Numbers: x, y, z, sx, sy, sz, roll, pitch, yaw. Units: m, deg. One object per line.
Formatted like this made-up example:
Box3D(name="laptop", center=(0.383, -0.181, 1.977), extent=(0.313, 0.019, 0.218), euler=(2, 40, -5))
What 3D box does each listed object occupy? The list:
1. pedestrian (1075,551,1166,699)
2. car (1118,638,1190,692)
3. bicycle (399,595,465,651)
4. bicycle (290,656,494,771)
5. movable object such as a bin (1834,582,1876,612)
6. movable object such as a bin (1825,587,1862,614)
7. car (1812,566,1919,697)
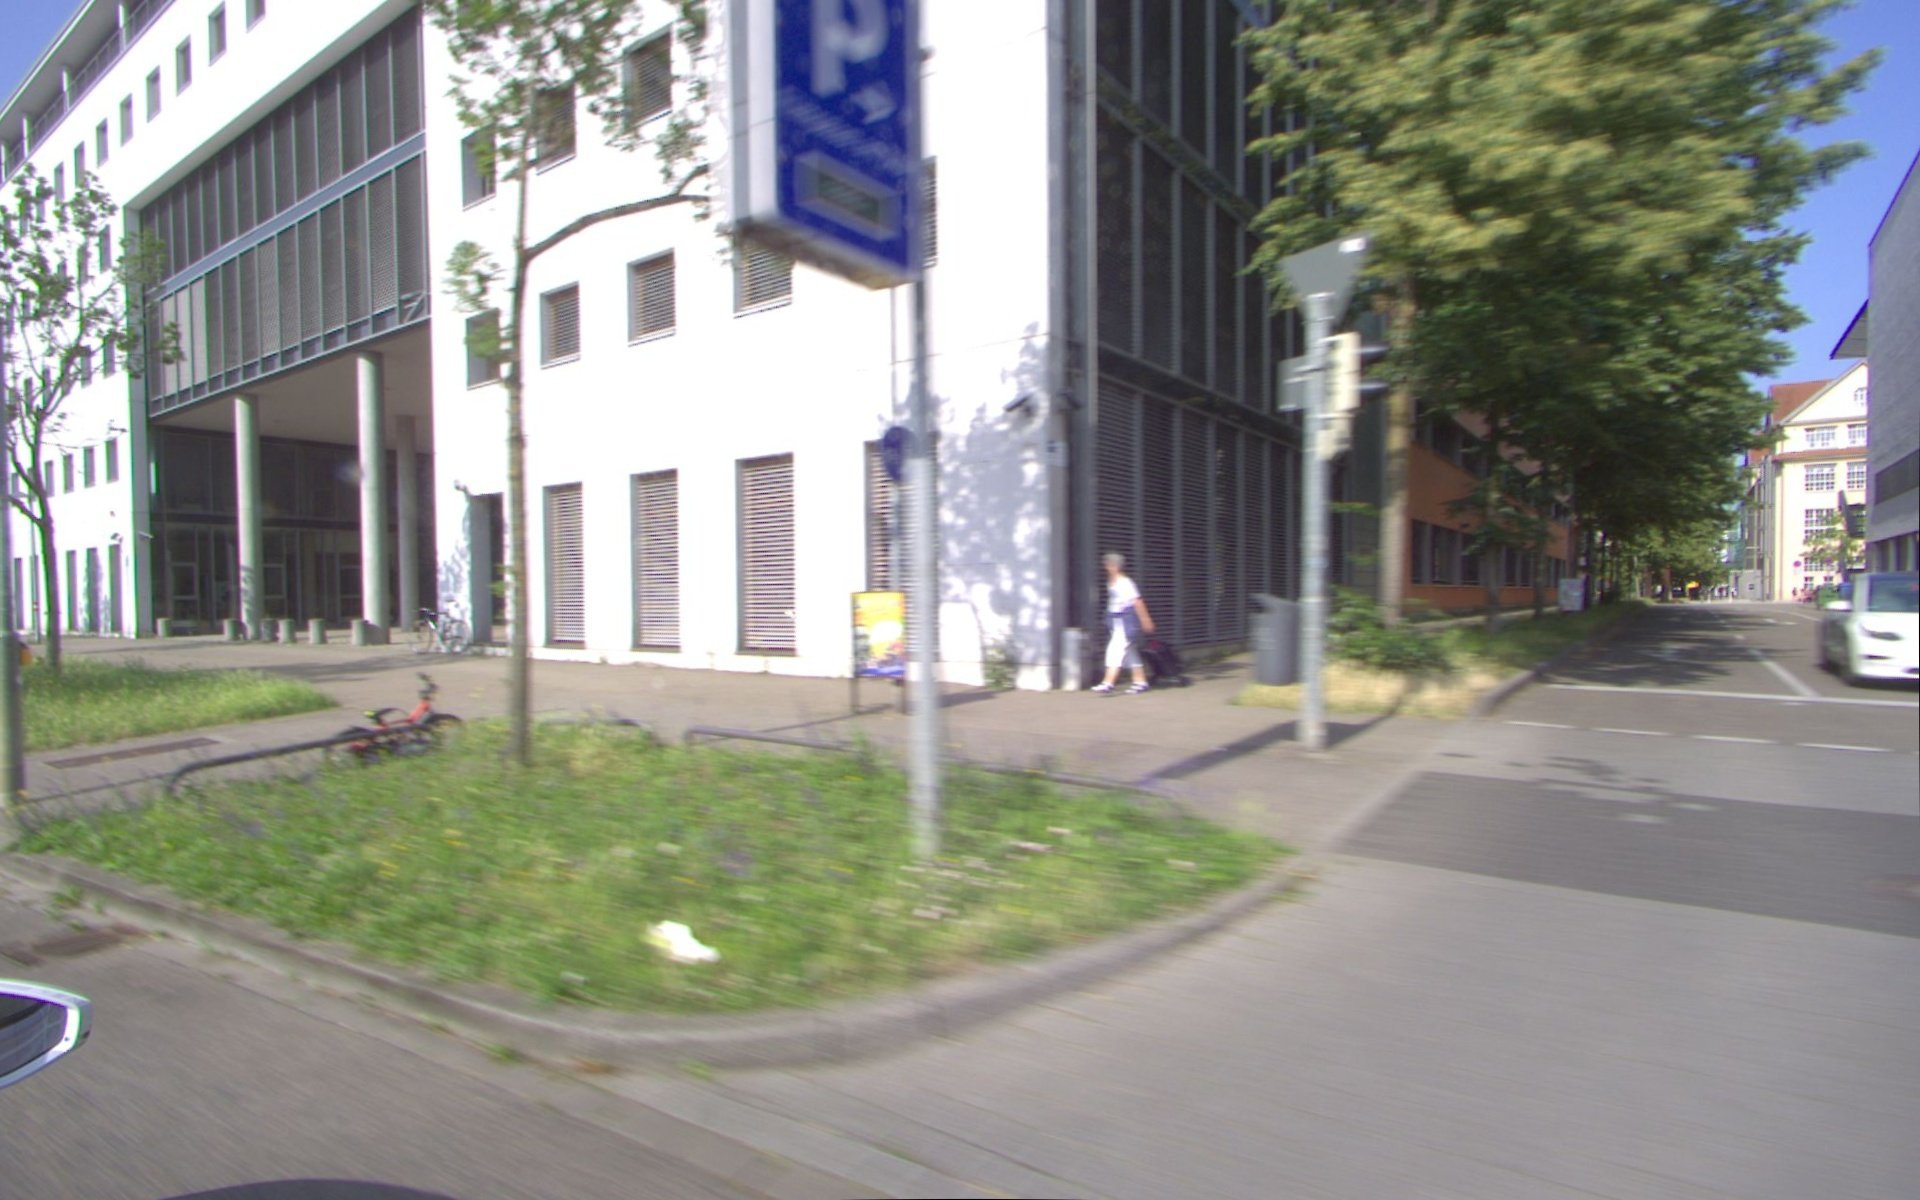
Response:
Box3D(name="pedestrian", center=(1.852, 0.275, 11.559), extent=(0.771, 1.637, 0.707), euler=(-2, 1, -40))
Box3D(name="car", center=(2.357, 0.779, 12.168), extent=(0.759, 0.595, 0.494), euler=(-1, 1, -40))
Box3D(name="bicycle", center=(-10.816, 0.452, 20.494), extent=(1.528, 1.101, 0.492), euler=(0, 3, 34))
Box3D(name="bicycle", center=(-4.494, 0.867, 7.976), extent=(0.515, 0.641, 1.262), euler=(0, 7, 43))
Box3D(name="movable object such as a bin", center=(39.163, -0.131, 43.852), extent=(1.191, 1.266, 2.196), euler=(0, 1, 38))
Box3D(name="movable object such as a bin", center=(43.143, 0.023, 48.933), extent=(1.191, 1.266, 2.196), euler=(0, 1, 38))
Box3D(name="car", center=(12.481, 0.332, 12.915), extent=(1.876, 1.485, 4.306), euler=(1, 2, 36))
